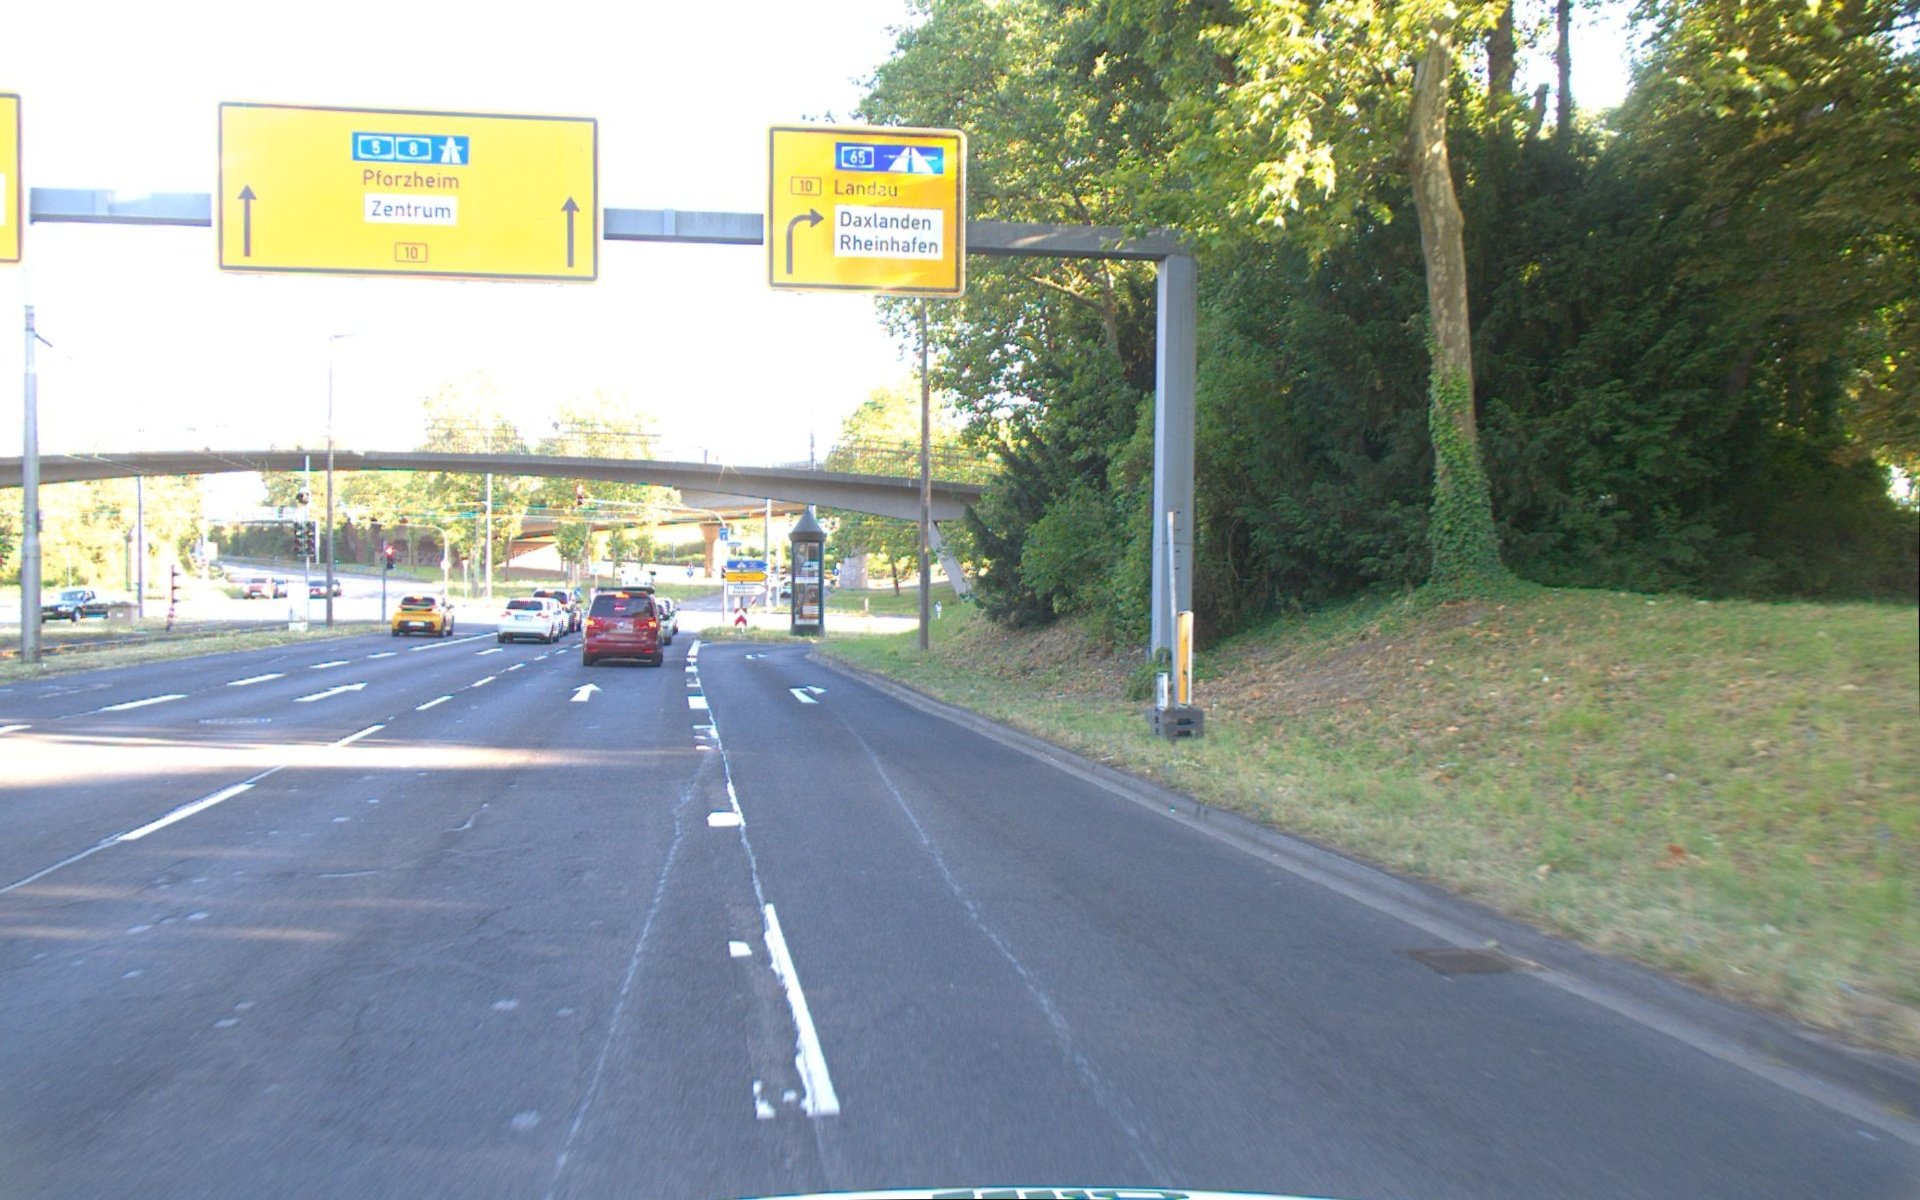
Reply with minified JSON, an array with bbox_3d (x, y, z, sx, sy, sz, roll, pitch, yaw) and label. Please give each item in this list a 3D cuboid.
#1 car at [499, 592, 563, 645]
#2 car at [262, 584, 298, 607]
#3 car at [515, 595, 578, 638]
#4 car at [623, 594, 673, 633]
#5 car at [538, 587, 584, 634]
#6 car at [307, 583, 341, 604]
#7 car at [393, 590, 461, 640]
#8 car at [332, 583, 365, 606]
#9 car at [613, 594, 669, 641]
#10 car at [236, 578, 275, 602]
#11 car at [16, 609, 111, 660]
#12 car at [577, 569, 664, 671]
[{"bbox_3d":[-14.168,0.579,54.822,1.632,1.592,4.181,-2,1,-9],"label":"car"},{"bbox_3d":[-54.676,-0.379,133.021,1.845,1.803,3.990,1,0,-11],"label":"car"},{"bbox_3d":[-15.353,0.594,61.596,1.709,1.457,4.404,2,0,-7],"label":"car"},{"bbox_3d":[-12.010,0.493,63.907,1.759,1.407,4.467,-2,1,-9],"label":"car"},{"bbox_3d":[-16.517,0.395,68.438,1.762,1.823,4.809,-2,1,-14],"label":"car"},{"bbox_3d":[-49.538,-0.524,128.866,1.845,1.603,3.665,1,0,-11],"label":"car"},{"bbox_3d":[-18.427,0.485,57.325,1.632,1.592,3.991,-2,1,-9],"label":"car"},{"bbox_3d":[-49.931,-0.440,135.064,1.845,1.803,3.990,1,0,-11],"label":"car"},{"bbox_3d":[-11.126,0.566,57.879,1.759,1.507,3.991,-2,1,-9],"label":"car"},{"bbox_3d":[-53.305,-0.771,125.268,1.845,1.803,3.990,1,0,-11],"label":"car"},{"bbox_3d":[-39.724,1.509,73.425,1.881,2.048,4.510,-1,1,-3],"label":"car"},{"bbox_3d":[-7.703,0.403,37.767,1.760,2.142,3.991,-2,1,-10],"label":"car"}]
